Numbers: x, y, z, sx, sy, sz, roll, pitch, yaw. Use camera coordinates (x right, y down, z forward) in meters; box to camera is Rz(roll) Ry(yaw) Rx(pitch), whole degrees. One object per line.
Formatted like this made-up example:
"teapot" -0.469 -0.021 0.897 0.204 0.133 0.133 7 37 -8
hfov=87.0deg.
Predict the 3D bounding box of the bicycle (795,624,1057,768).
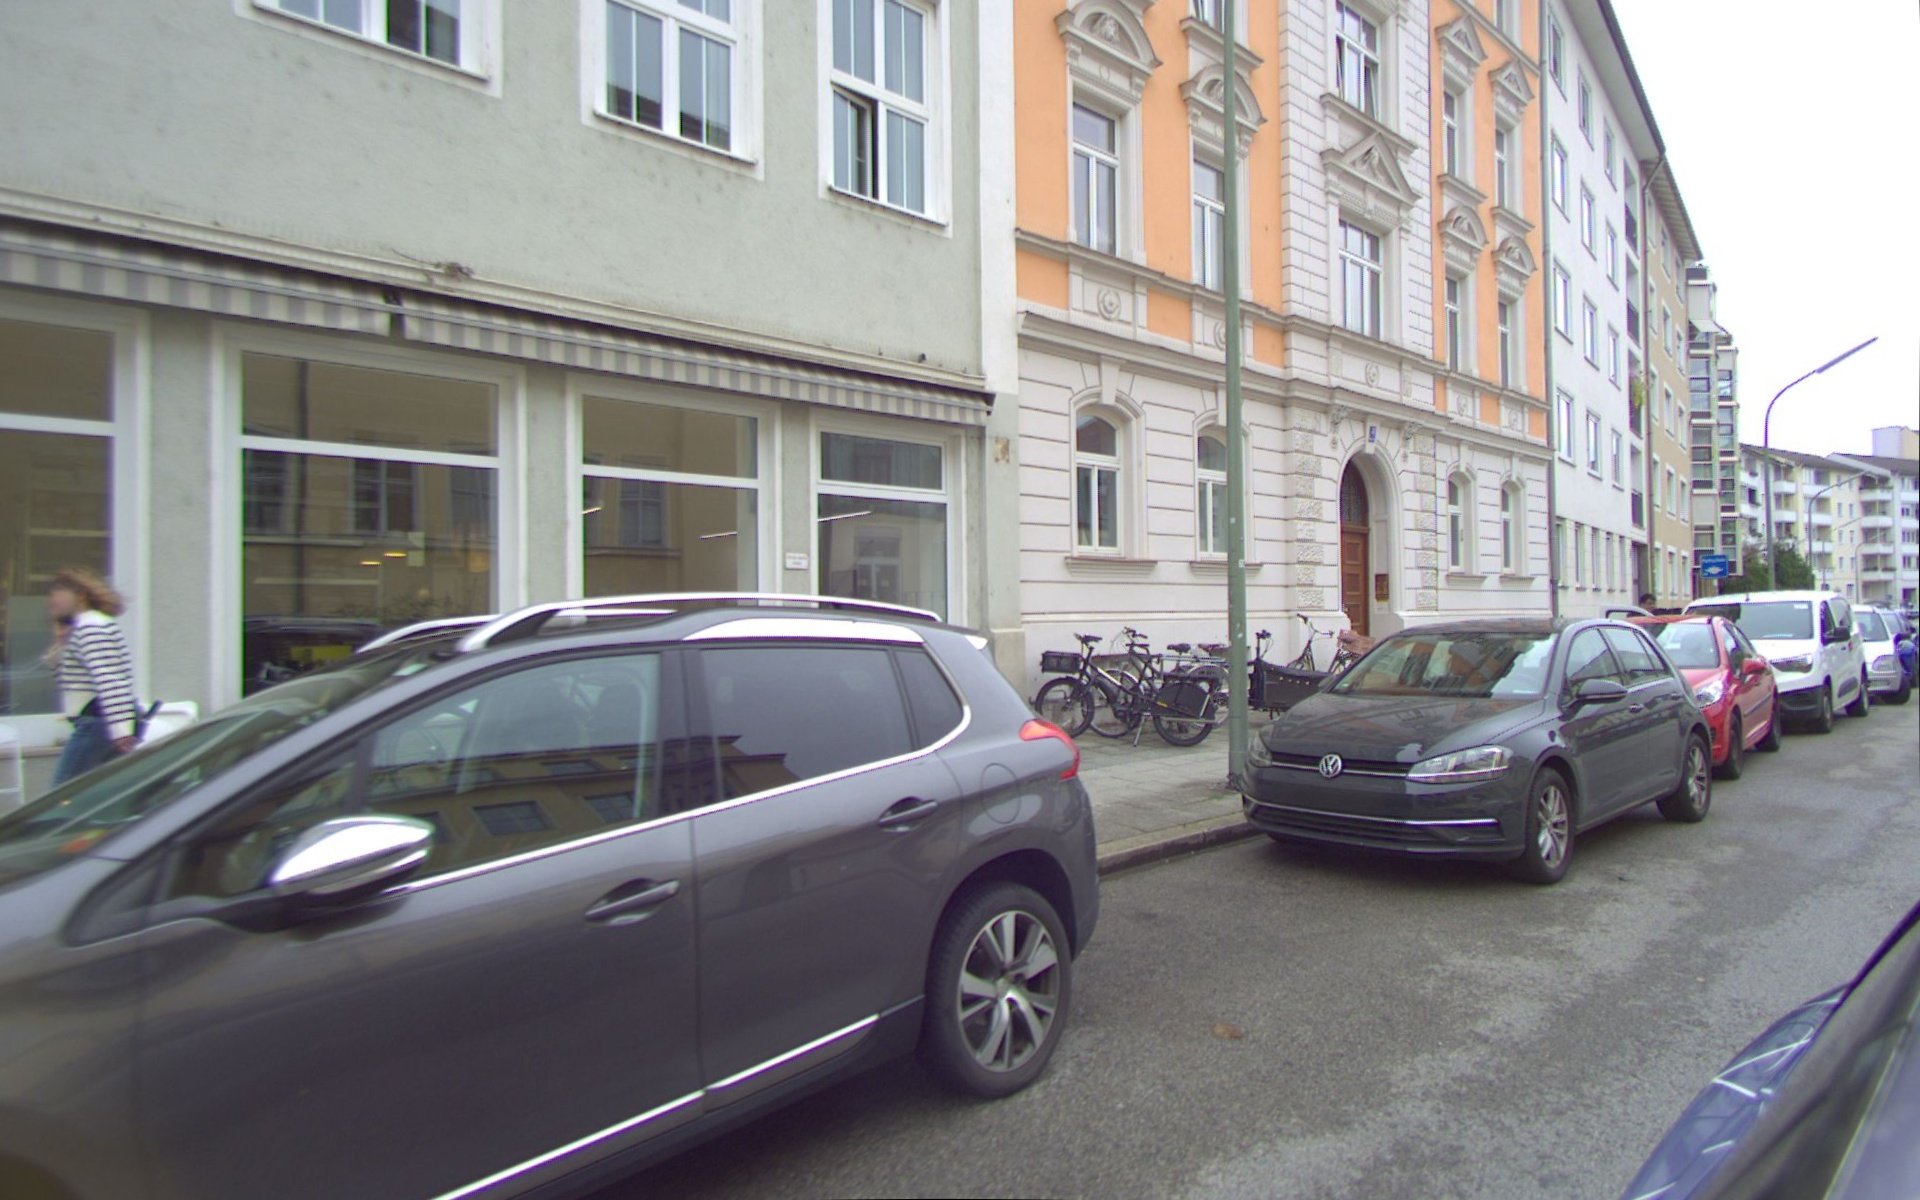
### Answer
"bicycle" -0.240 0.783 9.074 2.415 1.088 0.770 0 -1 -41

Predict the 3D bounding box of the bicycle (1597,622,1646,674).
"bicycle" 15.293 1.086 23.385 0.666 1.136 1.627 -2 -1 42

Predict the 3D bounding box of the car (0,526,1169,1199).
"car" -1.286 0.727 2.870 4.016 1.604 1.692 0 -3 -44

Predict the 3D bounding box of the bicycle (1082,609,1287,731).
"bicycle" 2.400 0.735 10.978 2.057 1.198 0.609 2 -1 3

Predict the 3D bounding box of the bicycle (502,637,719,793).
"bicycle" -2.538 0.801 7.465 1.494 1.017 0.331 0 0 -40

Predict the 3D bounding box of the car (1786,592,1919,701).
"car" 15.334 0.745 17.330 1.602 1.663 3.576 -4 -2 42

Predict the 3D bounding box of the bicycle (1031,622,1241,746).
"bicycle" 1.756 0.832 10.332 2.057 1.198 0.608 0 -1 4

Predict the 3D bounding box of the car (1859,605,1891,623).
"car" 76.344 1.154 84.447 1.748 1.472 3.519 -1 -1 39

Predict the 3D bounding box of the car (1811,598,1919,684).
"car" 19.114 0.817 20.908 4.129 1.608 1.742 1 -3 -42

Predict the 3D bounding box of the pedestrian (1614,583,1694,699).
"pedestrian" 10.490 0.604 15.300 0.636 1.683 0.862 1 -1 -41

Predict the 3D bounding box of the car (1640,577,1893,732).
"car" 11.348 0.686 14.105 4.809 1.809 1.843 0 -3 -41

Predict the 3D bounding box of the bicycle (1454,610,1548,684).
"bicycle" 9.349 0.798 17.455 2.057 1.198 0.652 2 -1 -39

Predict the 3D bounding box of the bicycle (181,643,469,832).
"bicycle" -3.927 0.805 6.340 1.495 1.017 0.331 0 0 -41

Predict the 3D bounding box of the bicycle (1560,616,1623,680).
"bicycle" 11.944 0.882 19.122 0.666 1.136 1.925 -2 -1 42

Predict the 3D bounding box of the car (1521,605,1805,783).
"car" 7.414 0.829 10.503 4.231 1.470 1.599 0 -3 -44

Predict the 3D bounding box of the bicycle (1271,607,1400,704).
"bicycle" 5.098 0.732 13.676 2.057 1.198 0.652 2 -1 -39

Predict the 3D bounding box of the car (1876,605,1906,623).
"car" 80.401 1.201 87.395 3.511 1.472 1.752 0 -1 -45

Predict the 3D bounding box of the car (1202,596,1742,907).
"car" 3.574 0.751 6.756 4.010 1.470 1.695 0 -3 -39

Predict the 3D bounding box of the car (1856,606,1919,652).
"car" 32.833 0.980 35.588 1.890 1.481 4.421 1 1 42

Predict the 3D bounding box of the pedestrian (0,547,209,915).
"pedestrian" -4.268 0.579 5.025 0.813 1.646 0.735 0 0 -40

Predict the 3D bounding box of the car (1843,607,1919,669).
"car" 23.099 0.894 25.041 1.739 1.414 4.136 -3 -2 42
